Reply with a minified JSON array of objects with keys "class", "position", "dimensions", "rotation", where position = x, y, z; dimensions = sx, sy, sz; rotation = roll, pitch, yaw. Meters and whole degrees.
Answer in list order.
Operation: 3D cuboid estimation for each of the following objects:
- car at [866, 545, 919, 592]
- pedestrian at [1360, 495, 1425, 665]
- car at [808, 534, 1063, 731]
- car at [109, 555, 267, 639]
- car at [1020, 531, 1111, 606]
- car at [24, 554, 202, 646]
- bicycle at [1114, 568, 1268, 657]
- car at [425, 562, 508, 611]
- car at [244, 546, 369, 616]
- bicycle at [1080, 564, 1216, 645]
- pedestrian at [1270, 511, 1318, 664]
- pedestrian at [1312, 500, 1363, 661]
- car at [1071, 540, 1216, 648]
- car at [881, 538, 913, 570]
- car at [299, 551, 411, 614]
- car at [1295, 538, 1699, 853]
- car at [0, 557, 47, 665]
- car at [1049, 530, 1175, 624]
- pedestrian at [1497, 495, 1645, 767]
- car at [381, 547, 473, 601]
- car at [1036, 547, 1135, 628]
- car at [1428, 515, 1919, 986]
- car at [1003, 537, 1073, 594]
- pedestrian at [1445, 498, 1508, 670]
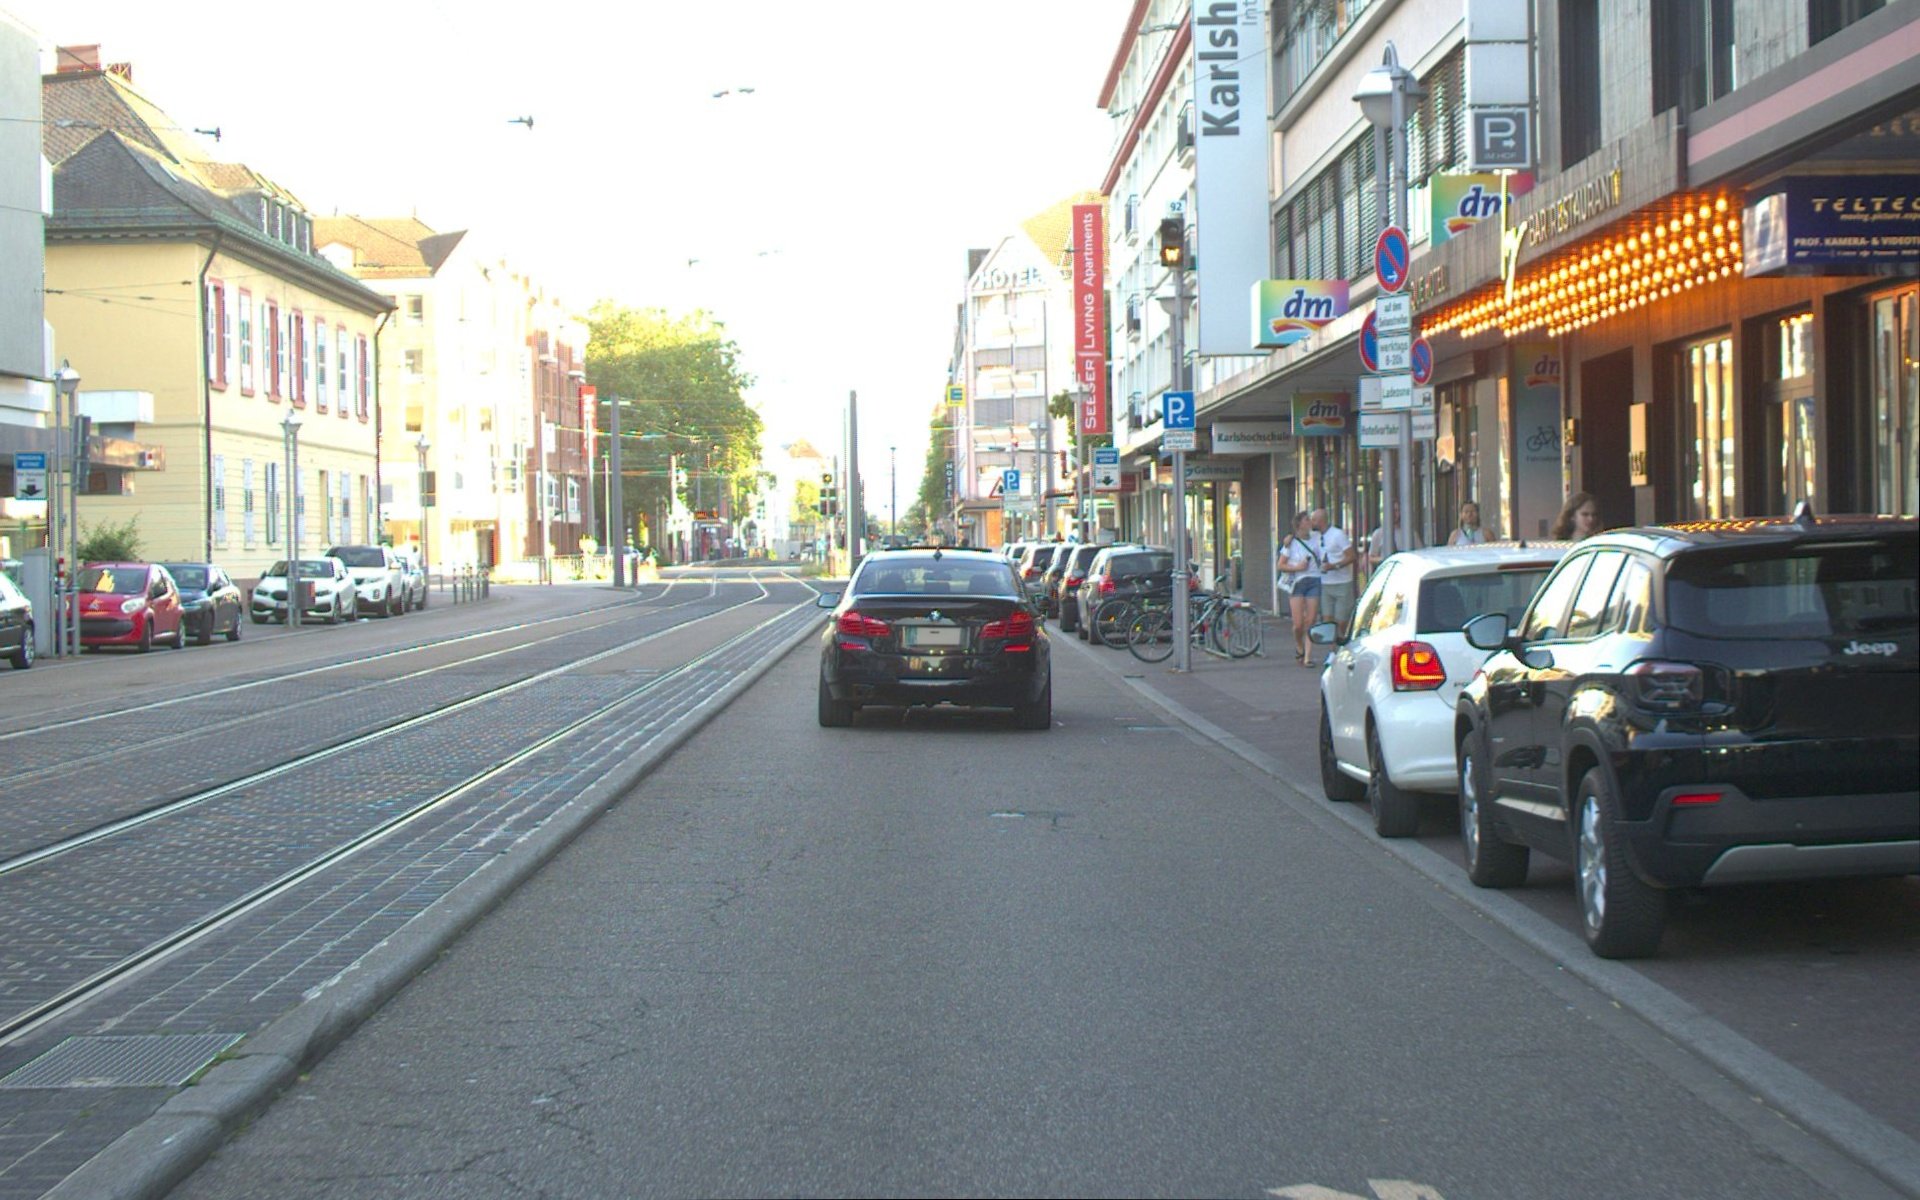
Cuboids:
[{"class":"car","position":[-2.263,-1.054,115.806],"dimensions":[1.774,1.543,3.503],"rotation":[0,0,-1]},{"class":"pedestrian","position":[4.618,-0.219,36.711],"dimensions":[0.554,1.785,0.760],"rotation":[-1,1,-1]},{"class":"car","position":[-0.161,0.209,29.024],"dimensions":[1.953,1.493,4.465],"rotation":[1,1,1]},{"class":"car","position":[-13.837,-0.076,61.839],"dimensions":[1.928,1.430,4.246],"rotation":[0,1,0]},{"class":"car","position":[2.212,-0.654,72.833],"dimensions":[1.774,1.543,3.503],"rotation":[0,0,-1]},{"class":"car","position":[-13.992,-0.032,56.998],"dimensions":[1.928,1.430,4.246],"rotation":[0,1,0]},{"class":"bicycle","position":[2.833,0.158,42.285],"dimensions":[1.861,1.076,0.468],"rotation":[0,0,1]},{"class":"car","position":[-15.014,-0.424,104.786],"dimensions":[1.928,1.430,4.246],"rotation":[0,1,0]},{"class":"car","position":[-14.278,-0.446,75.305],"dimensions":[1.928,1.430,4.246],"rotation":[-1,1,0]},{"class":"bicycle","position":[2.624,0.061,48.089],"dimensions":[1.861,1.115,0.468],"rotation":[0,0,1]},{"class":"pedestrian","position":[3.752,-0.149,38.653],"dimensions":[0.475,1.693,0.752],"rotation":[-1,1,3]},{"class":"pedestrian","position":[4.237,-0.222,38.622],"dimensions":[0.488,1.784,0.760],"rotation":[-1,1,3]},{"class":"car","position":[2.702,-0.094,51.400],"dimensions":[1.903,1.543,4.000],"rotation":[0,0,-1]},{"class":"car","position":[-3.984,-2.918,218.475],"dimensions":[1.993,1.832,4.000],"rotation":[0,-2,-1]},{"class":"car","position":[-14.305,-0.444,81.473],"dimensions":[1.928,1.430,4.246],"rotation":[0,1,0]},{"class":"car","position":[2.768,0.427,18.417],"dimensions":[1.559,1.437,3.709],"rotation":[-3,1,1]},{"class":"car","position":[-13.936,0.146,46.785],"dimensions":[1.928,1.430,4.246],"rotation":[0,1,0]},{"class":"car","position":[2.545,-0.379,58.273],"dimensions":[1.903,1.543,3.780],"rotation":[0,0,-1]},{"class":"pedestrian","position":[3.786,0.184,21.338],"dimensions":[0.556,1.641,0.760],"rotation":[-2,1,-22]},{"class":"car","position":[-14.785,-0.735,95.587],"dimensions":[1.928,1.430,4.246],"rotation":[0,1,0]},{"class":"car","position":[2.438,-0.245,67.506],"dimensions":[1.774,1.543,3.503],"rotation":[0,0,-1]},{"class":"car","position":[2.976,0.460,13.427],"dimensions":[1.654,1.532,3.886],"rotation":[-2,1,-1]},{"class":"car","position":[2.126,-0.937,94.364],"dimensions":[1.774,1.543,3.503],"rotation":[0,0,-1]},{"class":"pedestrian","position":[5.467,-0.176,36.411],"dimensions":[0.508,1.786,0.760],"rotation":[-1,1,0]}]
